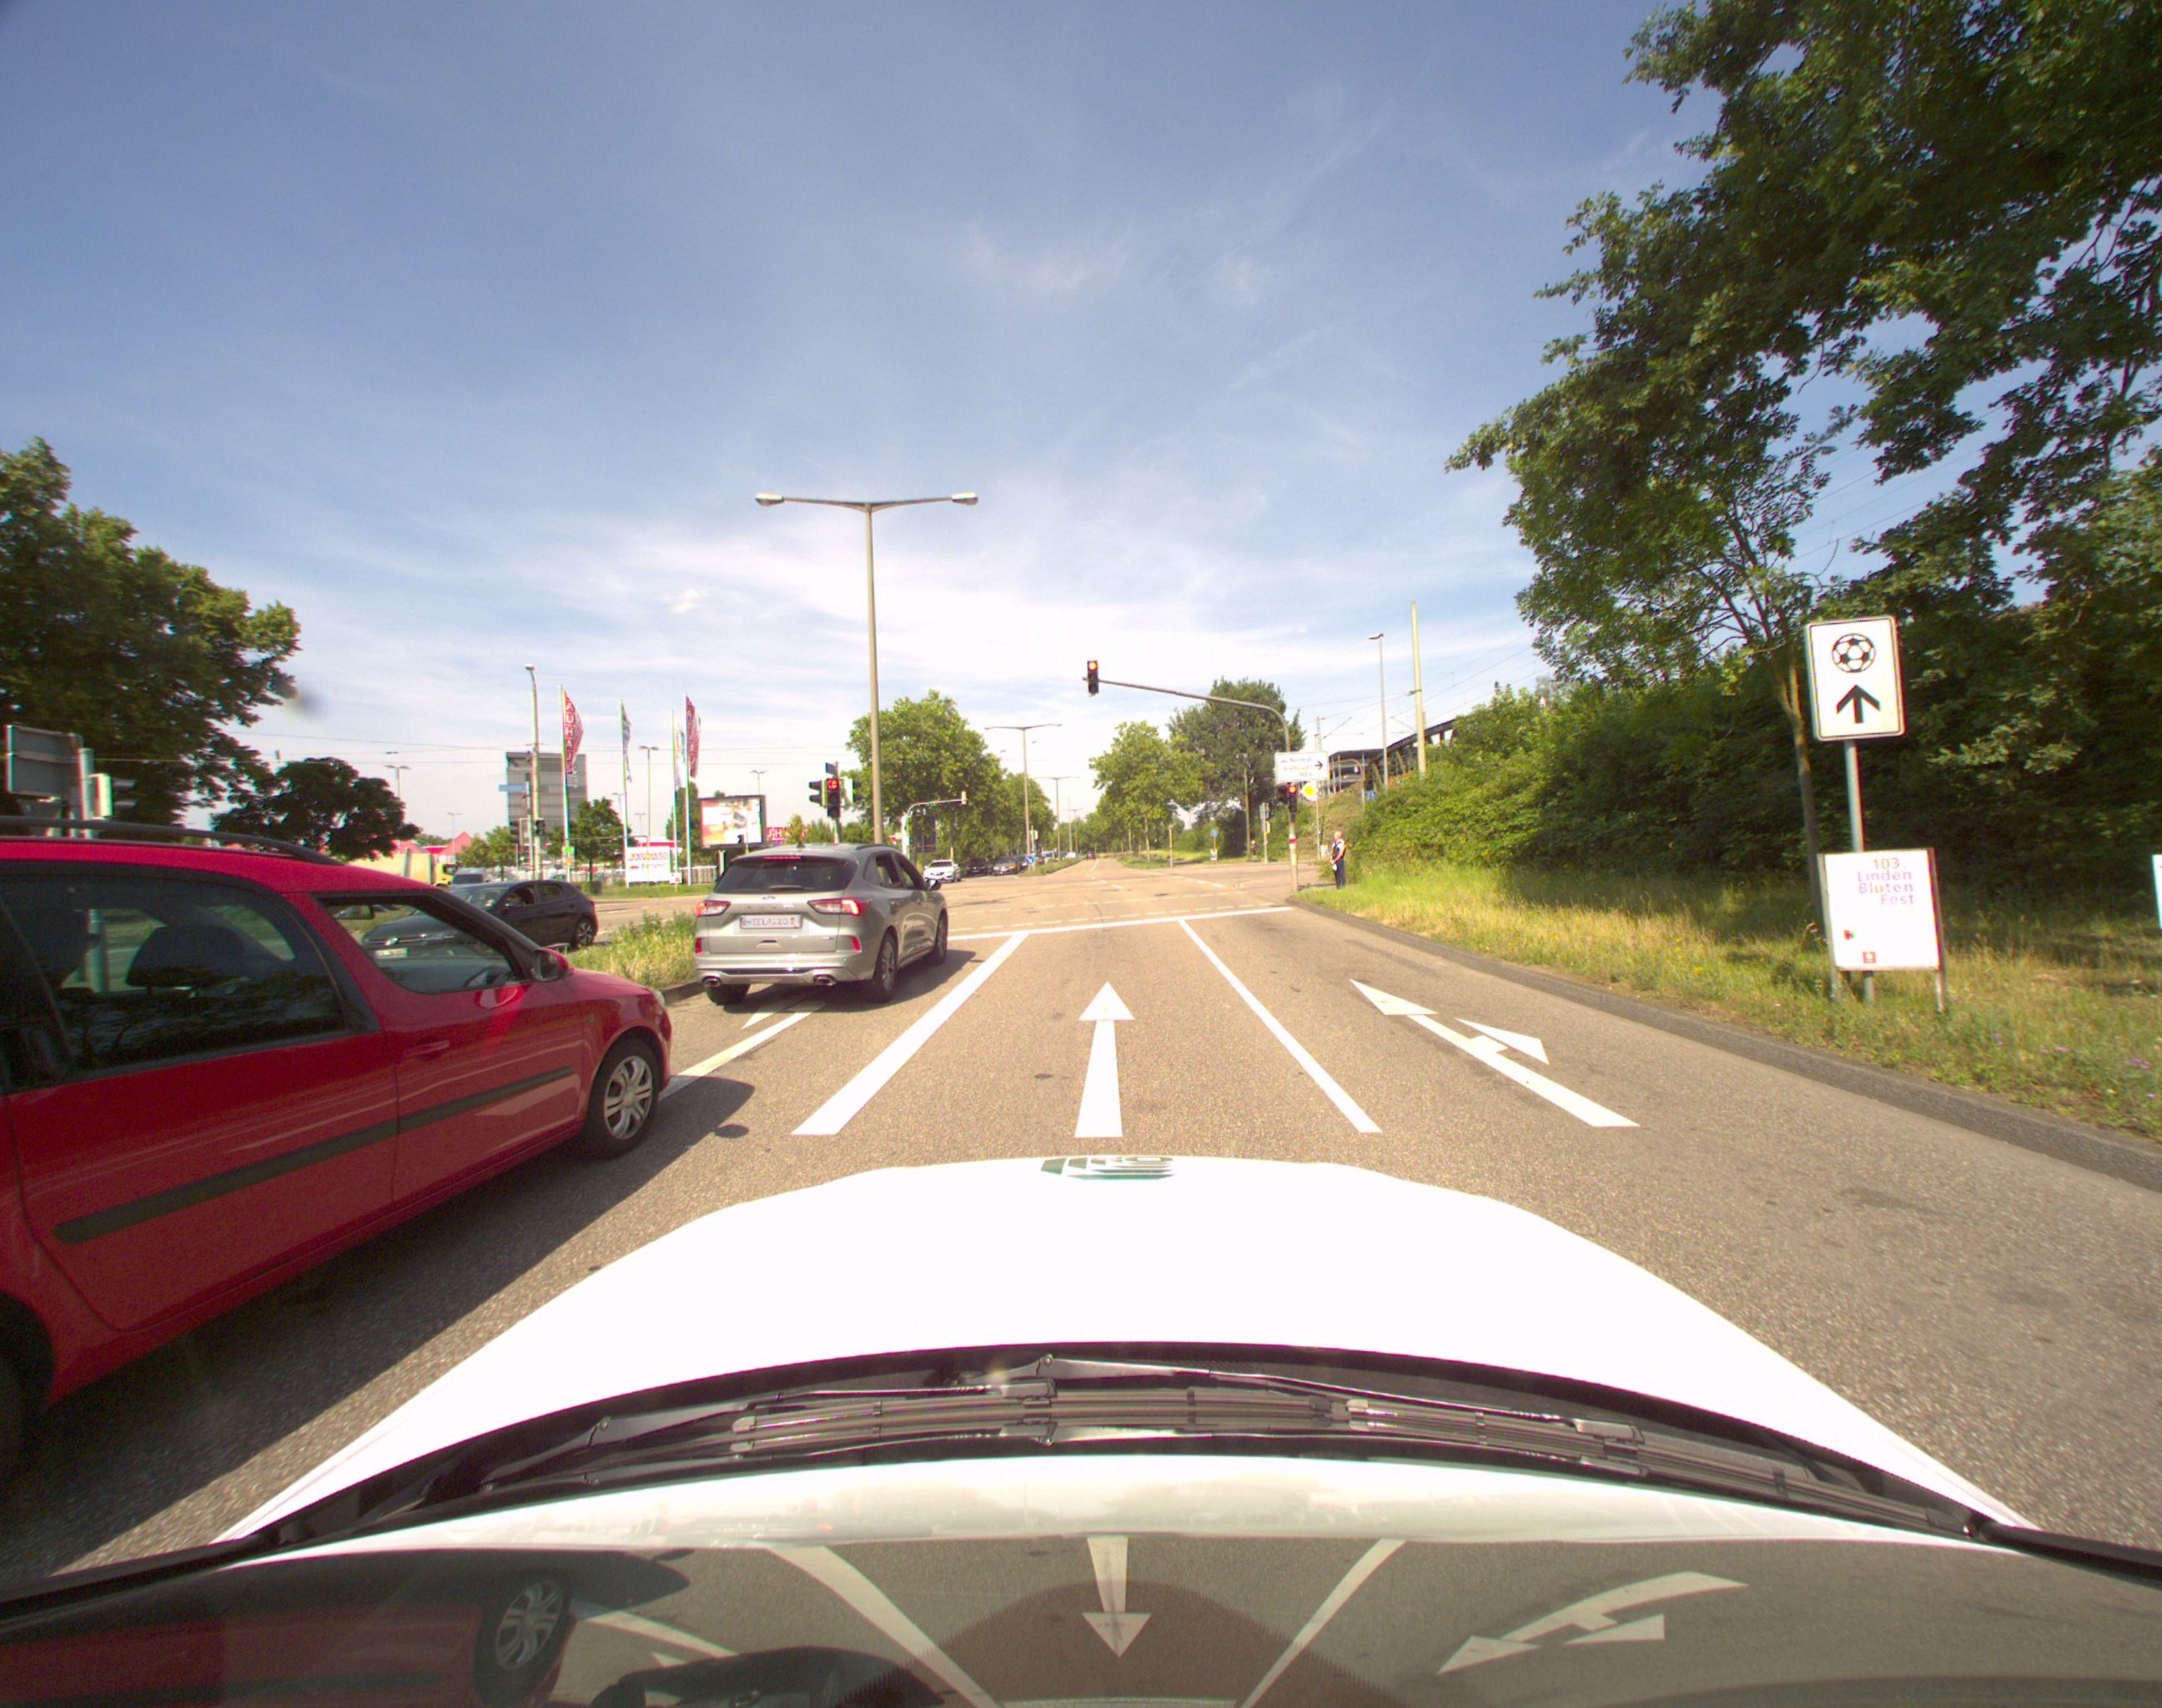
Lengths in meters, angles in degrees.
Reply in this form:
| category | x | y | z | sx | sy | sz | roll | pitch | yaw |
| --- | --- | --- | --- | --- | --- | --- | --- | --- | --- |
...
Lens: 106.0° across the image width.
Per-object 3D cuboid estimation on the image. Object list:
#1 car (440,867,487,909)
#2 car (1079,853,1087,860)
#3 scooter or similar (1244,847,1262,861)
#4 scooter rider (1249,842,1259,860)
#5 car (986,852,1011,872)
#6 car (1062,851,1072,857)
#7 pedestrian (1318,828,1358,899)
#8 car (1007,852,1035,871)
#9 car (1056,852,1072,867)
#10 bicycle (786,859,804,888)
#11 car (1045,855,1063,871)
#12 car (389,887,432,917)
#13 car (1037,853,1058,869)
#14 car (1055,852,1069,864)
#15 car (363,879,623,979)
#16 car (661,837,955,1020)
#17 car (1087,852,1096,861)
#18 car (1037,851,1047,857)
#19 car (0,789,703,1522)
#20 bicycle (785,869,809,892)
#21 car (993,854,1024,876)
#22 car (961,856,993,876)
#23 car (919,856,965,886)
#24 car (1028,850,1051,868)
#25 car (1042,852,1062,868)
| category | x | y | z | sx | sy | sz | roll | pitch | yaw |
| --- | --- | --- | --- | --- | --- | --- | --- | --- | --- |
| car | -41.003 | 2.245 | 54.016 | 2.011 | 2.532 | 4.583 | -3 | 0 | -42 |
| car | 0.539 | 0.600 | 196.472 | 1.859 | 1.694 | 4.411 | -2 | 0 | 2 |
| scooter or similar | 13.645 | -0.004 | 64.555 | 1.337 | 1.098 | 0.493 | -2 | 0 | 6 |
| scooter rider | 13.680 | -0.249 | 64.554 | 0.672 | 1.428 | 0.493 | -2 | 0 | 7 |
| car | -8.524 | 0.810 | 84.858 | 1.986 | 1.895 | 4.377 | -2 | 0 | 1 |
| car | -4.025 | -0.093 | 239.183 | 1.869 | 1.694 | 4.388 | -2 | 0 | -14 |
| pedestrian | 7.286 | 0.250 | 23.132 | 0.835 | 1.932 | 0.771 | -2 | 2 | -2 |
| car | -5.251 | 0.636 | 71.999 | 1.986 | 1.500 | 4.002 | -2 | 0 | 2 |
| car | -2.429 | 0.770 | 116.681 | 1.986 | 1.895 | 4.378 | -2 | 0 | 2 |
| bicycle | -16.700 | 1.113 | 47.570 | 0.670 | 1.615 | 0.991 | -3 | 0 | -3 |
| car | -3.309 | 1.108 | 100.572 | 1.986 | 1.895 | 4.377 | -2 | 0 | 1 |
| car | -42.782 | 3.030 | 51.943 | 2.011 | 1.684 | 3.953 | -3 | 0 | -40 |
| car | -3.607 | 0.764 | 88.336 | 1.896 | 1.596 | 4.002 | -2 | 0 | 2 |
| car | -3.120 | 0.673 | 135.430 | 1.987 | 1.895 | 4.376 | -2 | 0 | 1 |
| car | -10.503 | 1.258 | 14.989 | 1.734 | 1.390 | 4.002 | -2 | 0 | 2 |
| car | -2.830 | 0.675 | 9.566 | 1.874 | 1.618 | 4.214 | -2 | 0 | 2 |
| car | 2.136 | 0.449 | 164.190 | 1.730 | 1.535 | 4.003 | -2 | 2 | 2 |
| car | -12.288 | -0.058 | 256.982 | 1.871 | 1.694 | 4.382 | -2 | 0 | -18 |
| car | -3.153 | 0.701 | 2.908 | 1.622 | 1.595 | 3.919 | -2 | -1 | 2 |
| bicycle | -16.673 | 1.555 | 47.838 | 0.670 | 1.256 | 2.244 | -3 | 0 | -3 |
| car | -5.646 | 0.838 | 64.285 | 1.911 | 1.513 | 4.002 | -2 | 0 | 2 |
| car | -8.713 | 0.957 | 68.593 | 1.986 | 1.513 | 4.002 | -2 | 0 | 2 |
| car | -8.563 | 1.030 | 50.601 | 1.986 | 1.512 | 4.002 | -2 | 2 | 2 |
| car | -4.107 | 0.484 | 81.228 | 1.986 | 1.695 | 4.001 | -2 | 0 | 1 |
| car | -3.385 | 0.704 | 95.020 | 1.986 | 1.678 | 4.002 | -2 | 0 | 2 |
